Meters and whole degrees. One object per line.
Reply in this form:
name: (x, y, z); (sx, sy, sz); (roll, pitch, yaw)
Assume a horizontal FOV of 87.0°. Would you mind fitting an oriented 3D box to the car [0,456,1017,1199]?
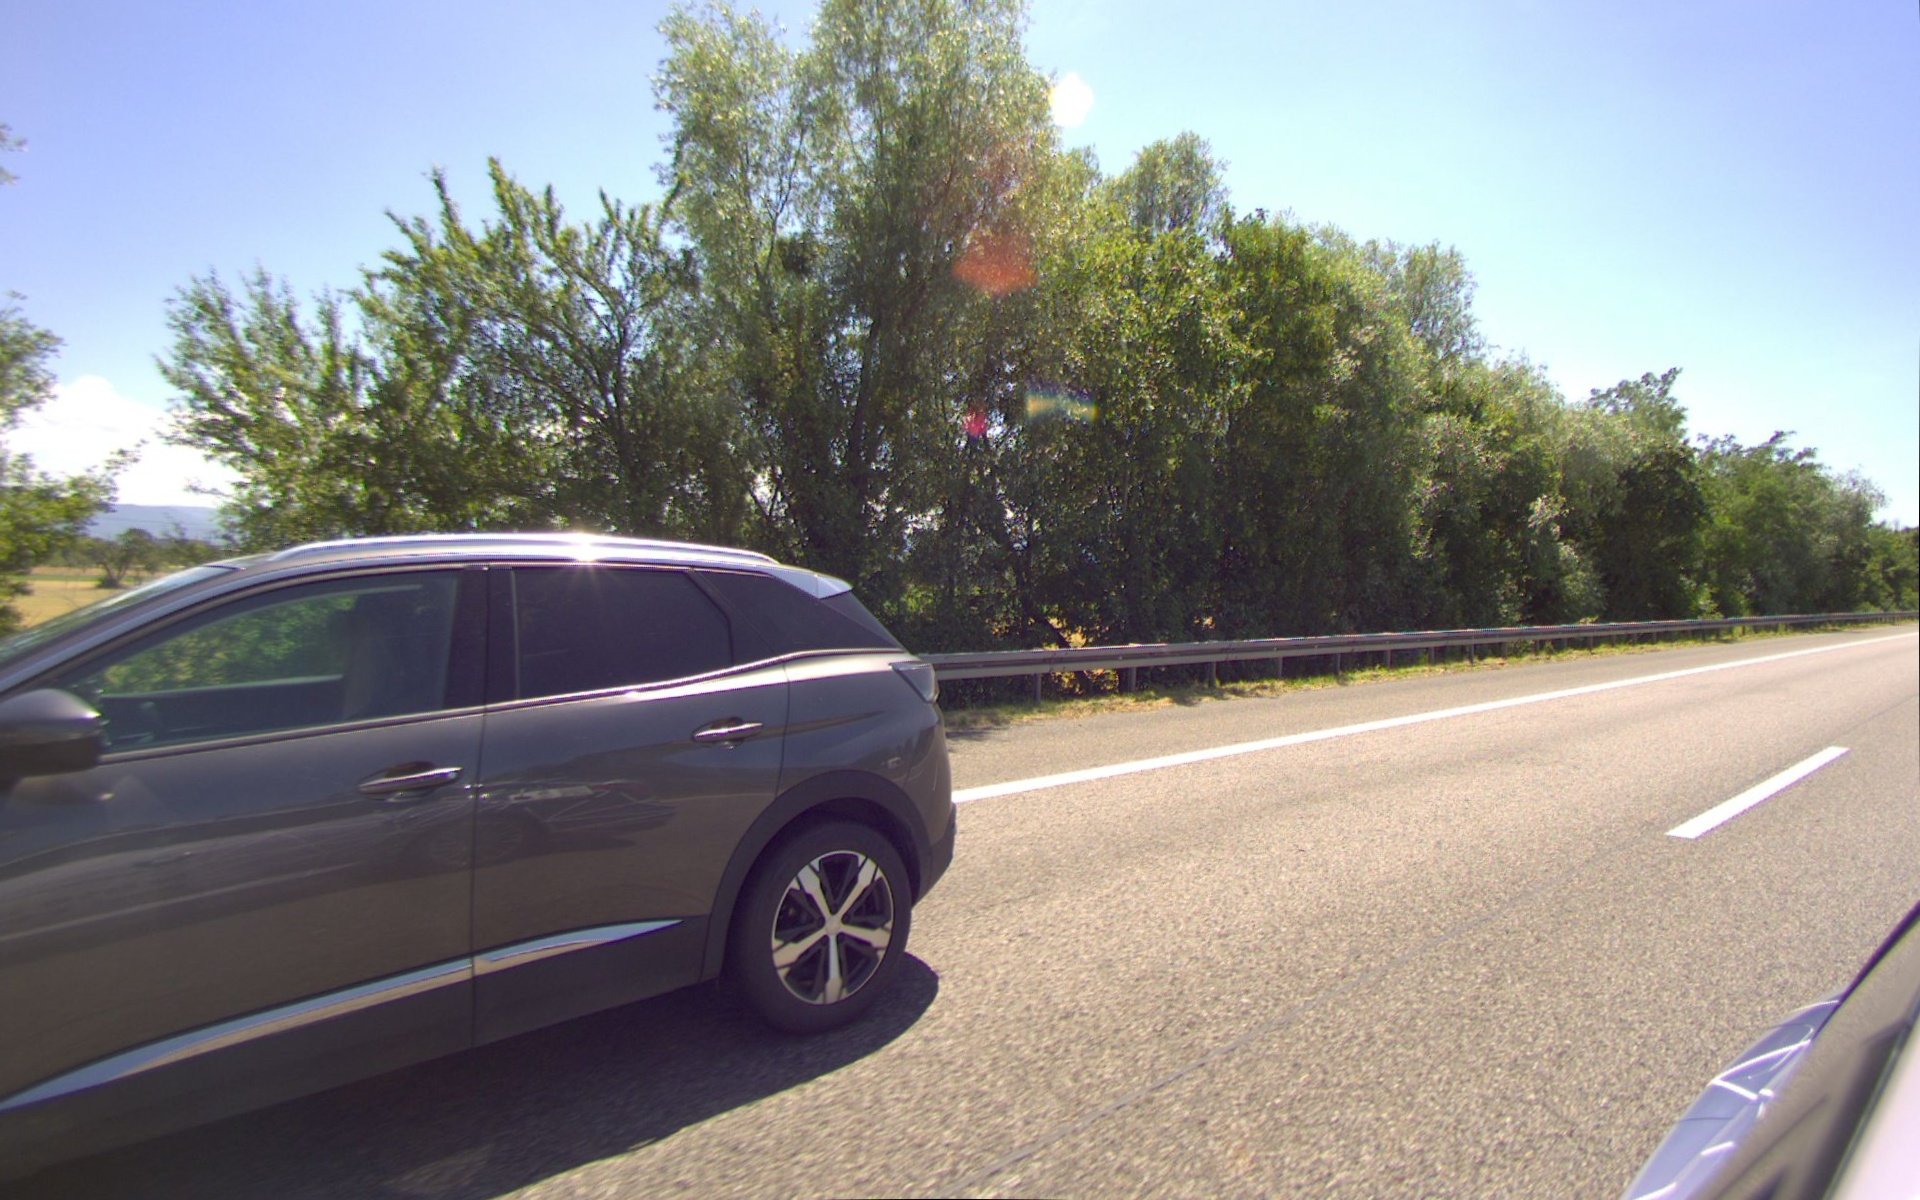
car: (-1.931, 0.525, 3.180); (4.062, 1.649, 1.849); (0, 1, -40)
